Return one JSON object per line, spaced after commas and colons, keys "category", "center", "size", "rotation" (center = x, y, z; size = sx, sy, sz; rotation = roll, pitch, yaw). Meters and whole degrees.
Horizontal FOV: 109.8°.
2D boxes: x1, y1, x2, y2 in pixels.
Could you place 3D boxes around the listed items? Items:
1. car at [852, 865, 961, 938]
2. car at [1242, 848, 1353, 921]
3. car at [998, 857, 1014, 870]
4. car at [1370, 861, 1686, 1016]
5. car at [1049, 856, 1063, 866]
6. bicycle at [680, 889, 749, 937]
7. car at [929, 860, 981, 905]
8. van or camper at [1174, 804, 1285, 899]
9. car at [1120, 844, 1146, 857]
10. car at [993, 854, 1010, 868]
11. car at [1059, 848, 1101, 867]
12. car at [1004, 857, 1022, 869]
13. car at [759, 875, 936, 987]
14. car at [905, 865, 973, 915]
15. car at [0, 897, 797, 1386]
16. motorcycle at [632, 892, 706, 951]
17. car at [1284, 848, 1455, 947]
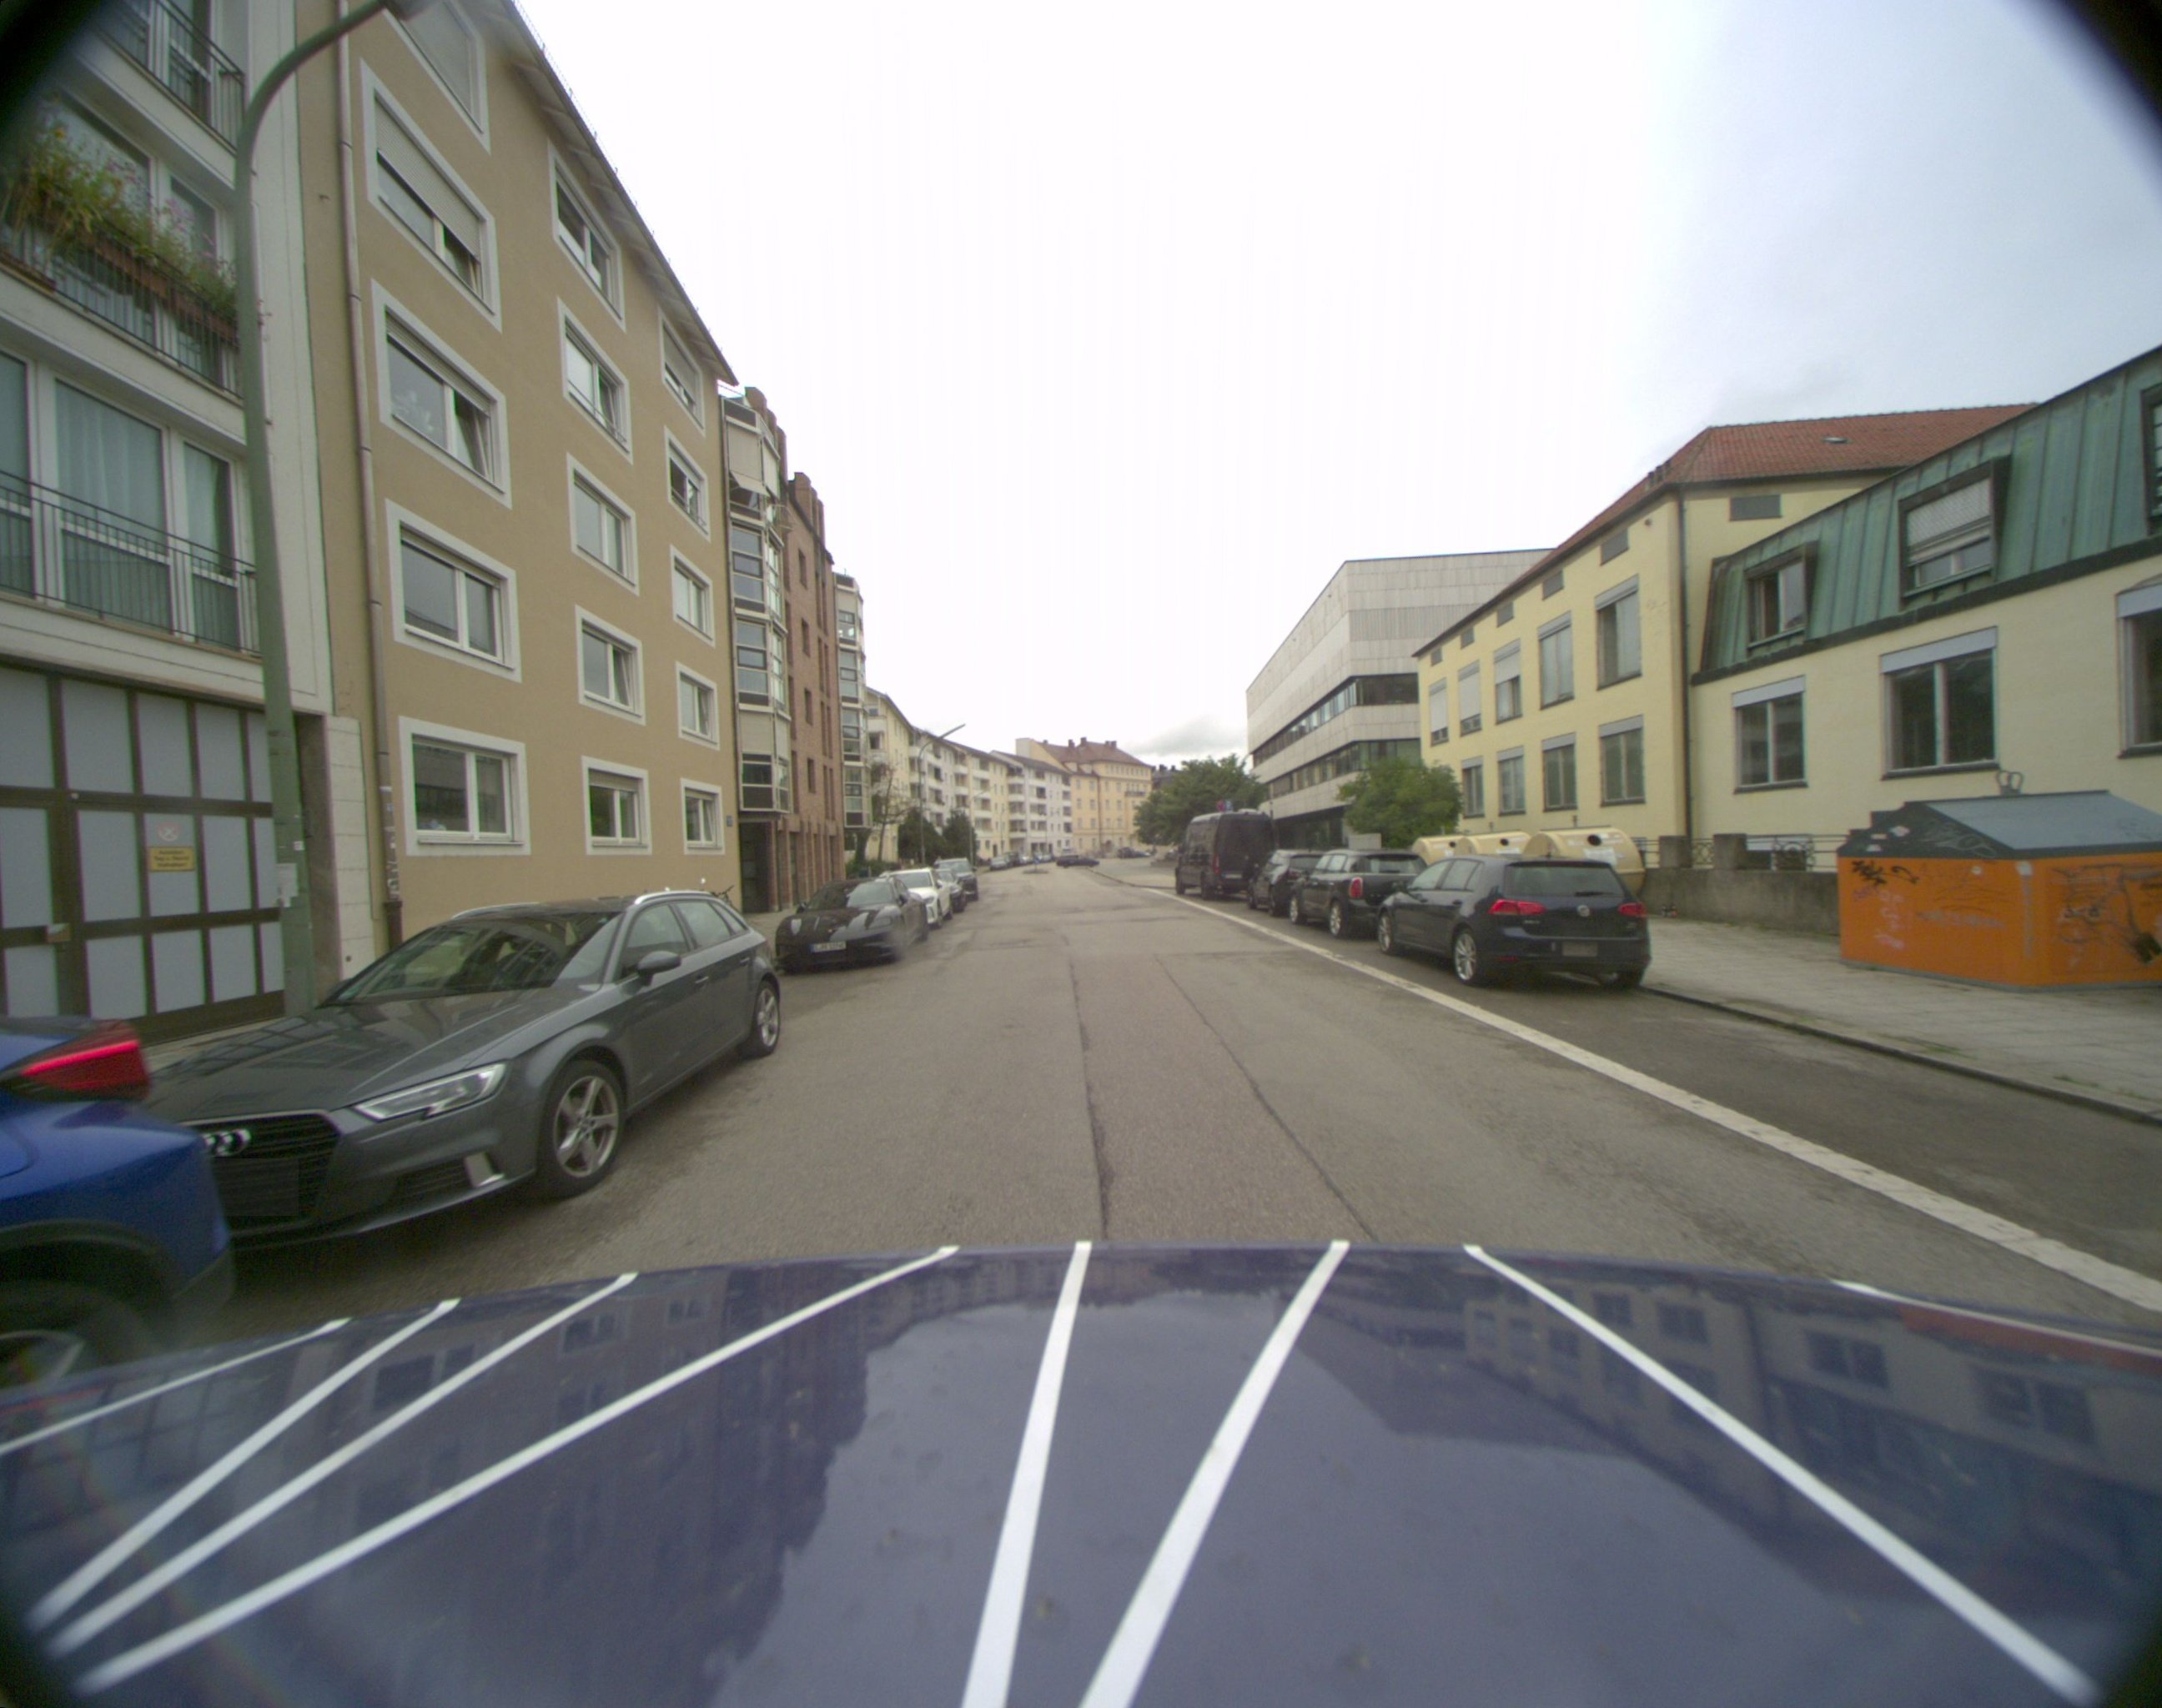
{"category": "car", "center": [-4.238, 1.086, 19.164], "size": [1.896, 1.454, 4.488], "rotation": [-2, 0, -4]}
{"category": "car", "center": [5.179, 0.671, 18.682], "size": [1.642, 1.553, 3.838], "rotation": [2, 0, 1]}
{"category": "car", "center": [-8.556, 1.041, 86.762], "size": [1.757, 1.445, 3.567], "rotation": [-2, 0, -7]}
{"category": "car", "center": [5.037, 0.821, 9.288], "size": [1.699, 1.397, 4.001], "rotation": [2, 0, 4]}
{"category": "car", "center": [-4.073, 1.131, 123.331], "size": [1.755, 1.445, 3.571], "rotation": [-2, 0, 4]}
{"category": "bicycle", "center": [-9.295, 1.468, 19.398], "size": [0.712, 1.013, 2.398], "rotation": [-1, 0, -4]}
{"category": "car", "center": [-4.848, 1.054, 29.659], "size": [1.742, 1.569, 3.832], "rotation": [-1, 0, -6]}
{"category": "van or camper", "center": [4.707, -0.065, 25.096], "size": [2.142, 2.791, 5.570], "rotation": [0, 0, -5]}
{"category": "car", "center": [7.964, -0.562, 116.666], "size": [3.996, 1.849, 2.000], "rotation": [-2, 1, 3]}
{"category": "car", "center": [-8.635, 0.730, 82.264], "size": [1.757, 1.445, 3.567], "rotation": [-2, 0, -7]}
{"category": "car", "center": [-0.147, 0.373, 80.531], "size": [4.247, 1.849, 1.999], "rotation": [-2, 1, -3]}
{"category": "car", "center": [-8.195, 1.063, 91.781], "size": [1.756, 1.445, 3.569], "rotation": [-2, 0, -1]}
{"category": "car", "center": [-3.904, 1.211, 13.566], "size": [1.896, 1.388, 4.489], "rotation": [-5, 0, -4]}
{"category": "car", "center": [-4.489, 1.095, 24.477], "size": [1.742, 1.332, 4.163], "rotation": [-2, 0, -6]}
{"category": "car", "center": [-3.357, 1.124, 4.748], "size": [1.745, 1.388, 4.199], "rotation": [-3, 0, -4]}
{"category": "motorcycle", "center": [-8.963, 1.438, 16.613], "size": [0.629, 1.119, 1.798], "rotation": [-1, 0, -1]}
{"category": "car", "center": [5.146, 0.696, 14.129], "size": [1.699, 1.553, 3.867], "rotation": [2, 0, 1]}
